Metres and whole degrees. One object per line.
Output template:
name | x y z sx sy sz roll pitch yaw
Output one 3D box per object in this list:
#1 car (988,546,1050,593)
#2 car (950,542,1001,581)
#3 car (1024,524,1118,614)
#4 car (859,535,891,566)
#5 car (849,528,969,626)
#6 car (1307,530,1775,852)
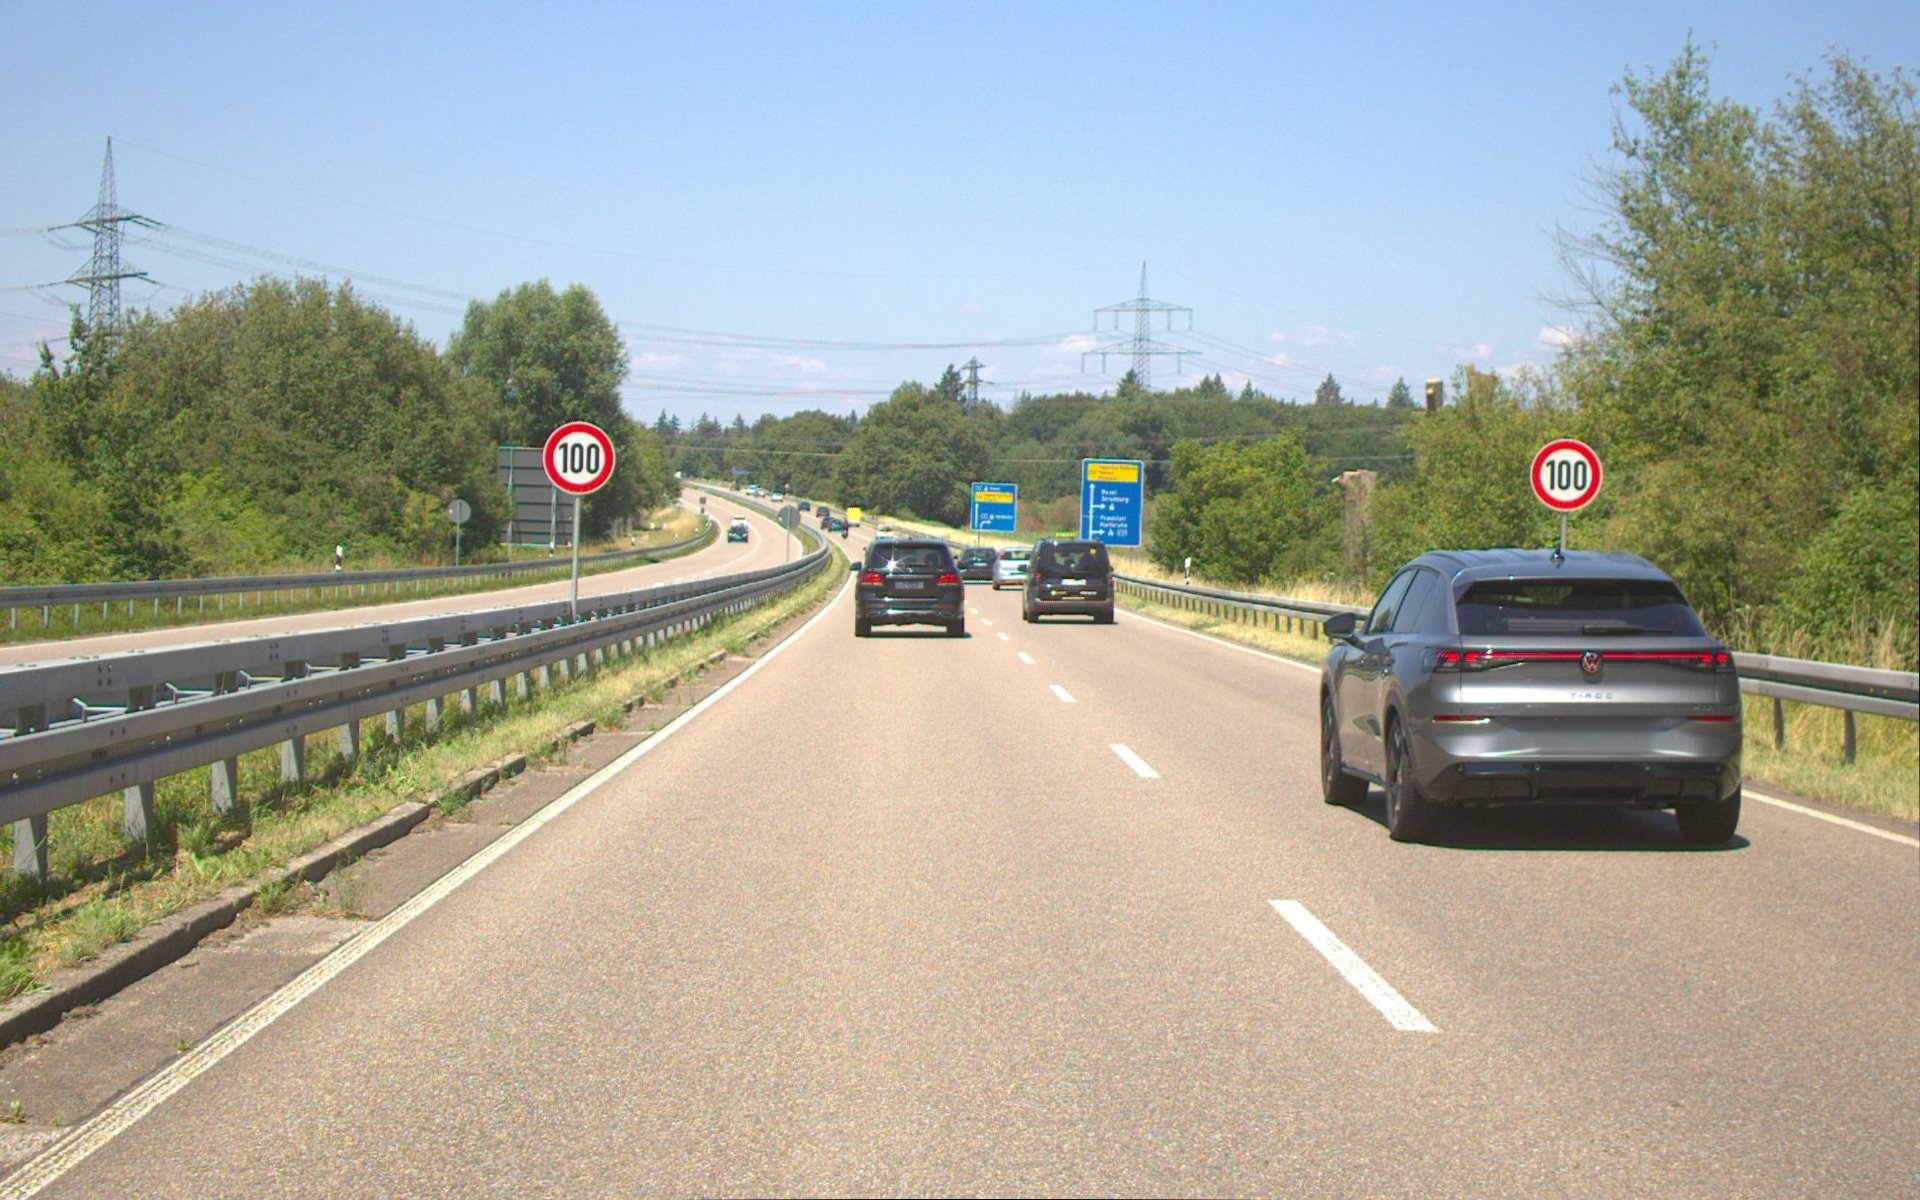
car | 2.019 -1.064 118.012 1.779 1.474 4.316 4 1 -3
car | 0.572 -1.506 132.440 1.819 1.409 4.001 1 2 -1
car | 2.361 -0.694 73.825 1.779 1.810 4.213 1 2 -1
car | -4.400 -2.562 177.371 1.514 1.470 3.067 4 2 -3
car | -0.941 -0.429 61.136 1.993 1.649 4.001 1 1 -3
car | 3.092 0.412 19.087 1.785 1.548 4.020 0 2 -2
